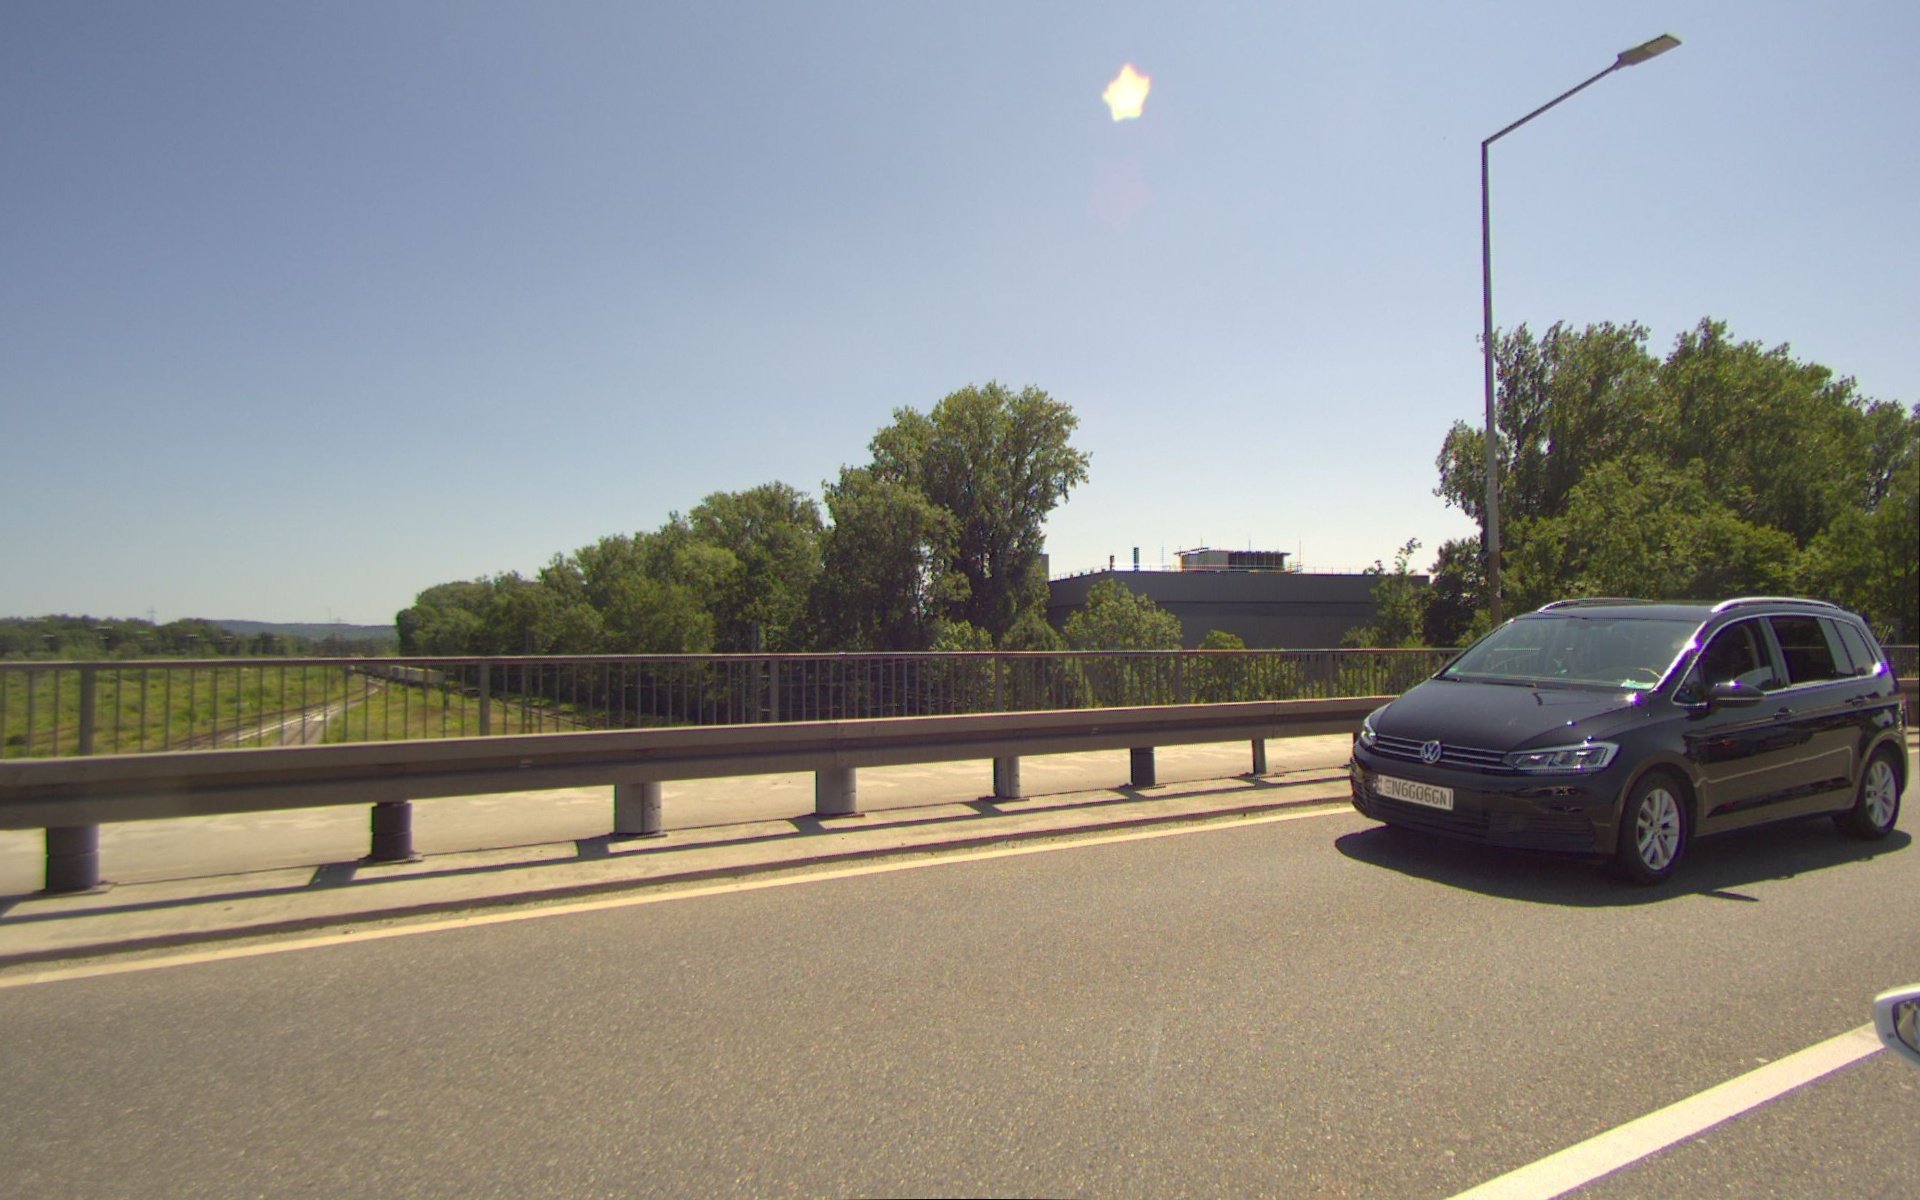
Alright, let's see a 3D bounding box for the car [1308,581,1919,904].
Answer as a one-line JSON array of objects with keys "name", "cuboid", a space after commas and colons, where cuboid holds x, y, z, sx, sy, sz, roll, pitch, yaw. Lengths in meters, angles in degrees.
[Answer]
[{"name": "car", "cuboid": [4.583, 0.775, 6.897, 4.200, 1.647, 1.765, 1, -1, -28]}]
